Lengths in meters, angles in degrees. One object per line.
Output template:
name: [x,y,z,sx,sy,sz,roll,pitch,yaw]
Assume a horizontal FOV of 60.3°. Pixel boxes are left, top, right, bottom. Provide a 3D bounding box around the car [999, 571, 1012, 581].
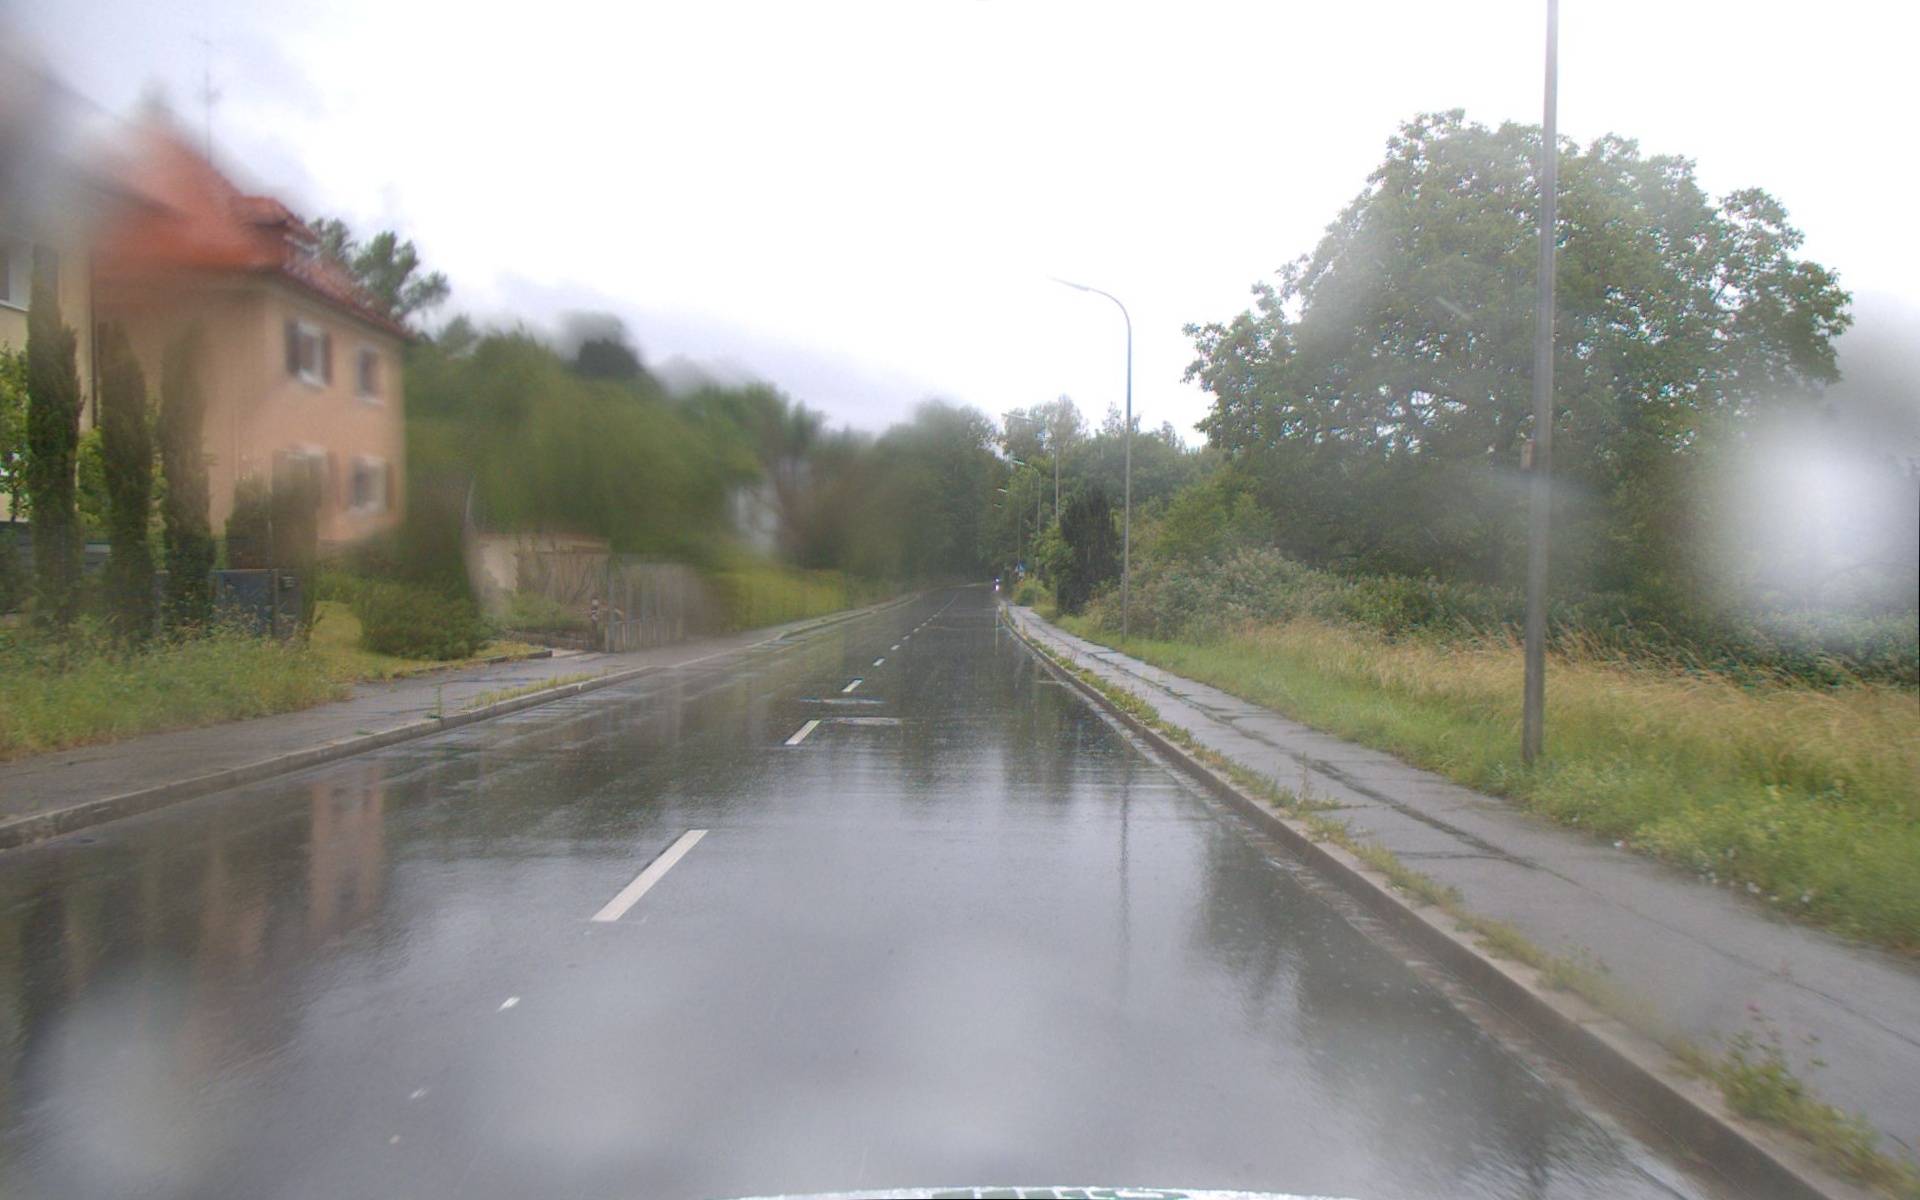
car: [6.883,-3.693,252.331,1.952,1.479,4.429,1,2,1]
